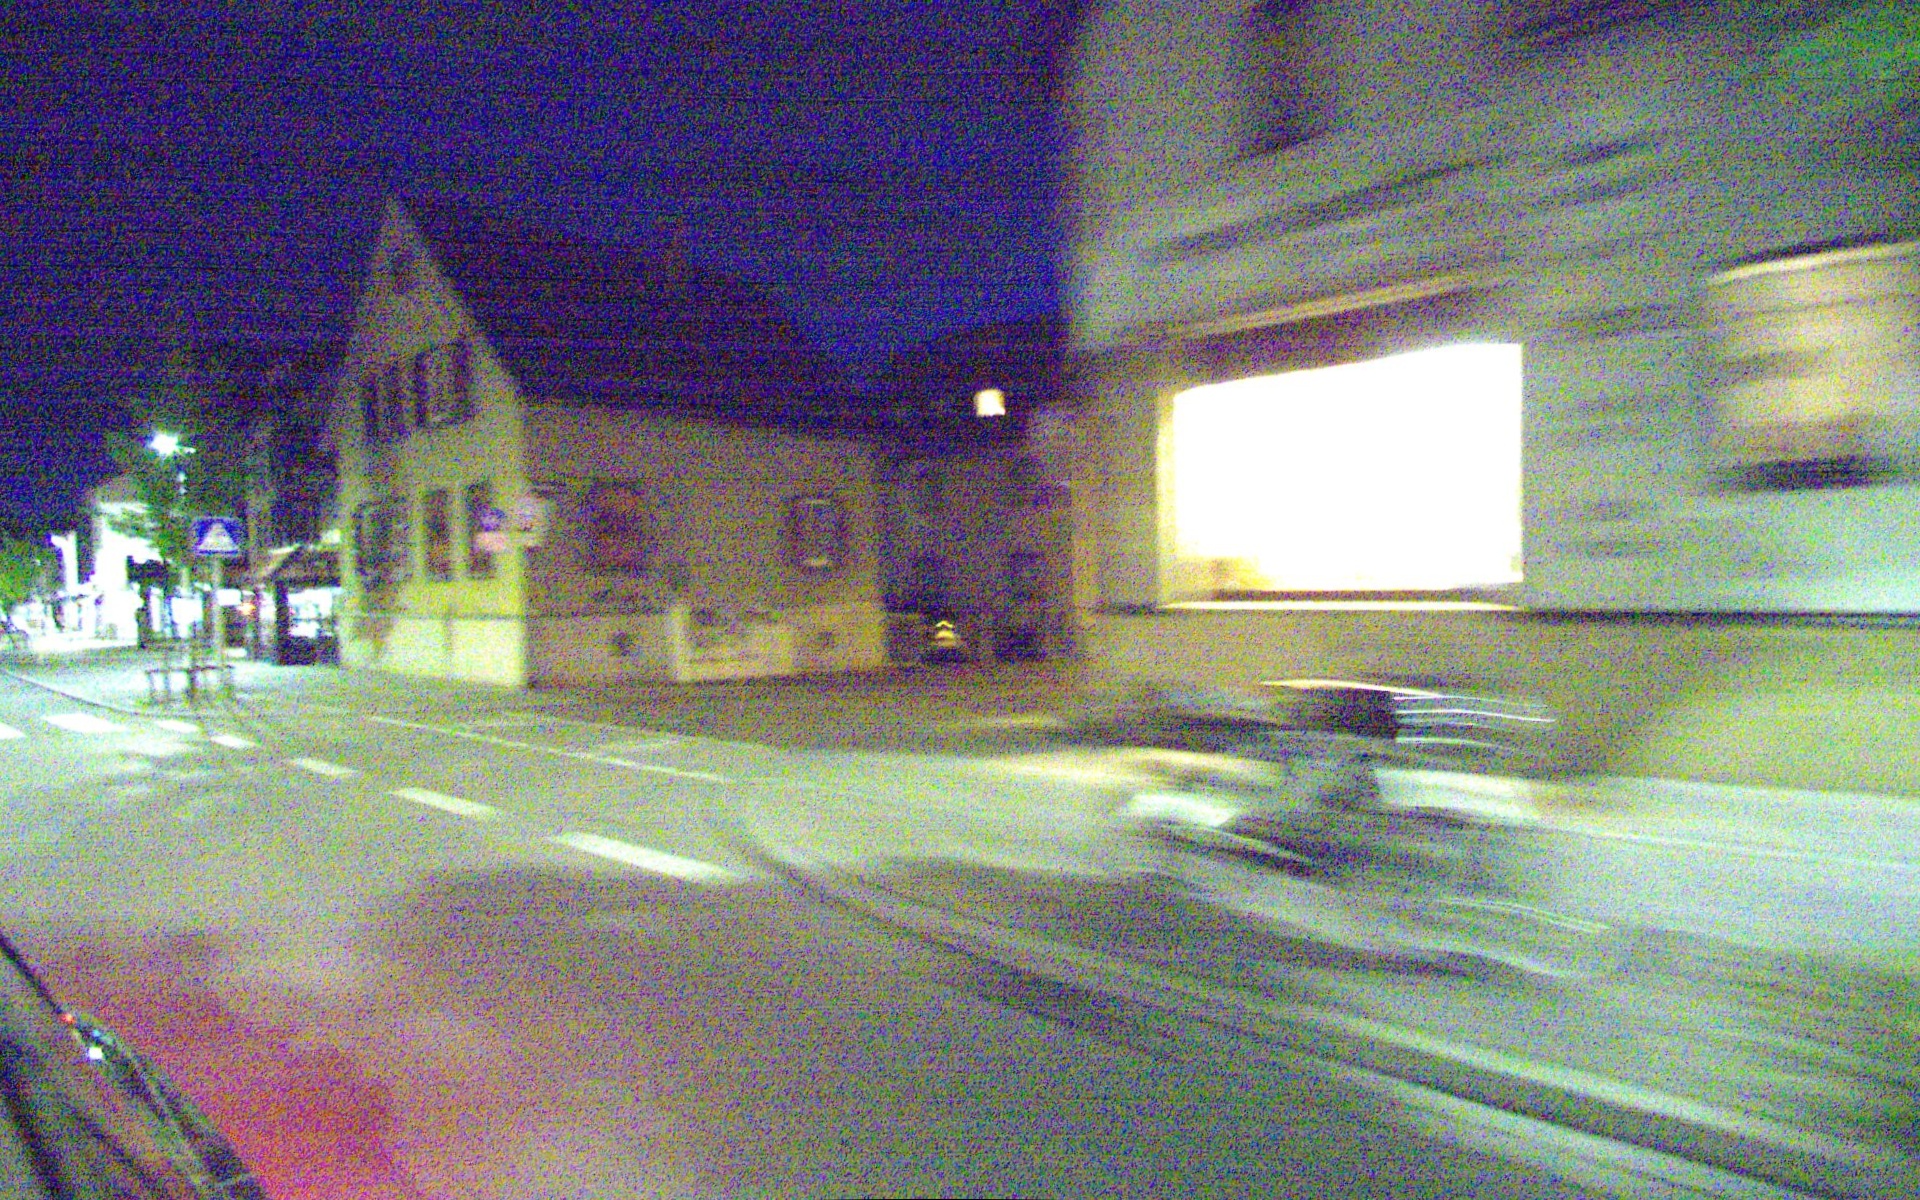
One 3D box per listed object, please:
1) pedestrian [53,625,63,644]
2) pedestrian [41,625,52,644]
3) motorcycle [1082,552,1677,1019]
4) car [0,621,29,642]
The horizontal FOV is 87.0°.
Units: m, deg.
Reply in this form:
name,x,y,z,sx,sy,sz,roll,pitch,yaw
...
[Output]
name,x,y,z,sx,sy,sz,roll,pitch,yaw
pedestrian,-78.937,3.029,88.568,0.664,1.600,0.523,-1,0,34
pedestrian,-79.502,3.018,88.080,0.665,1.600,0.523,-1,0,37
motorcycle,1.588,0.592,4.254,0.737,1.463,2.199,-1,0,-41
car,-68.321,2.267,72.651,4.932,1.430,1.875,-1,1,44
